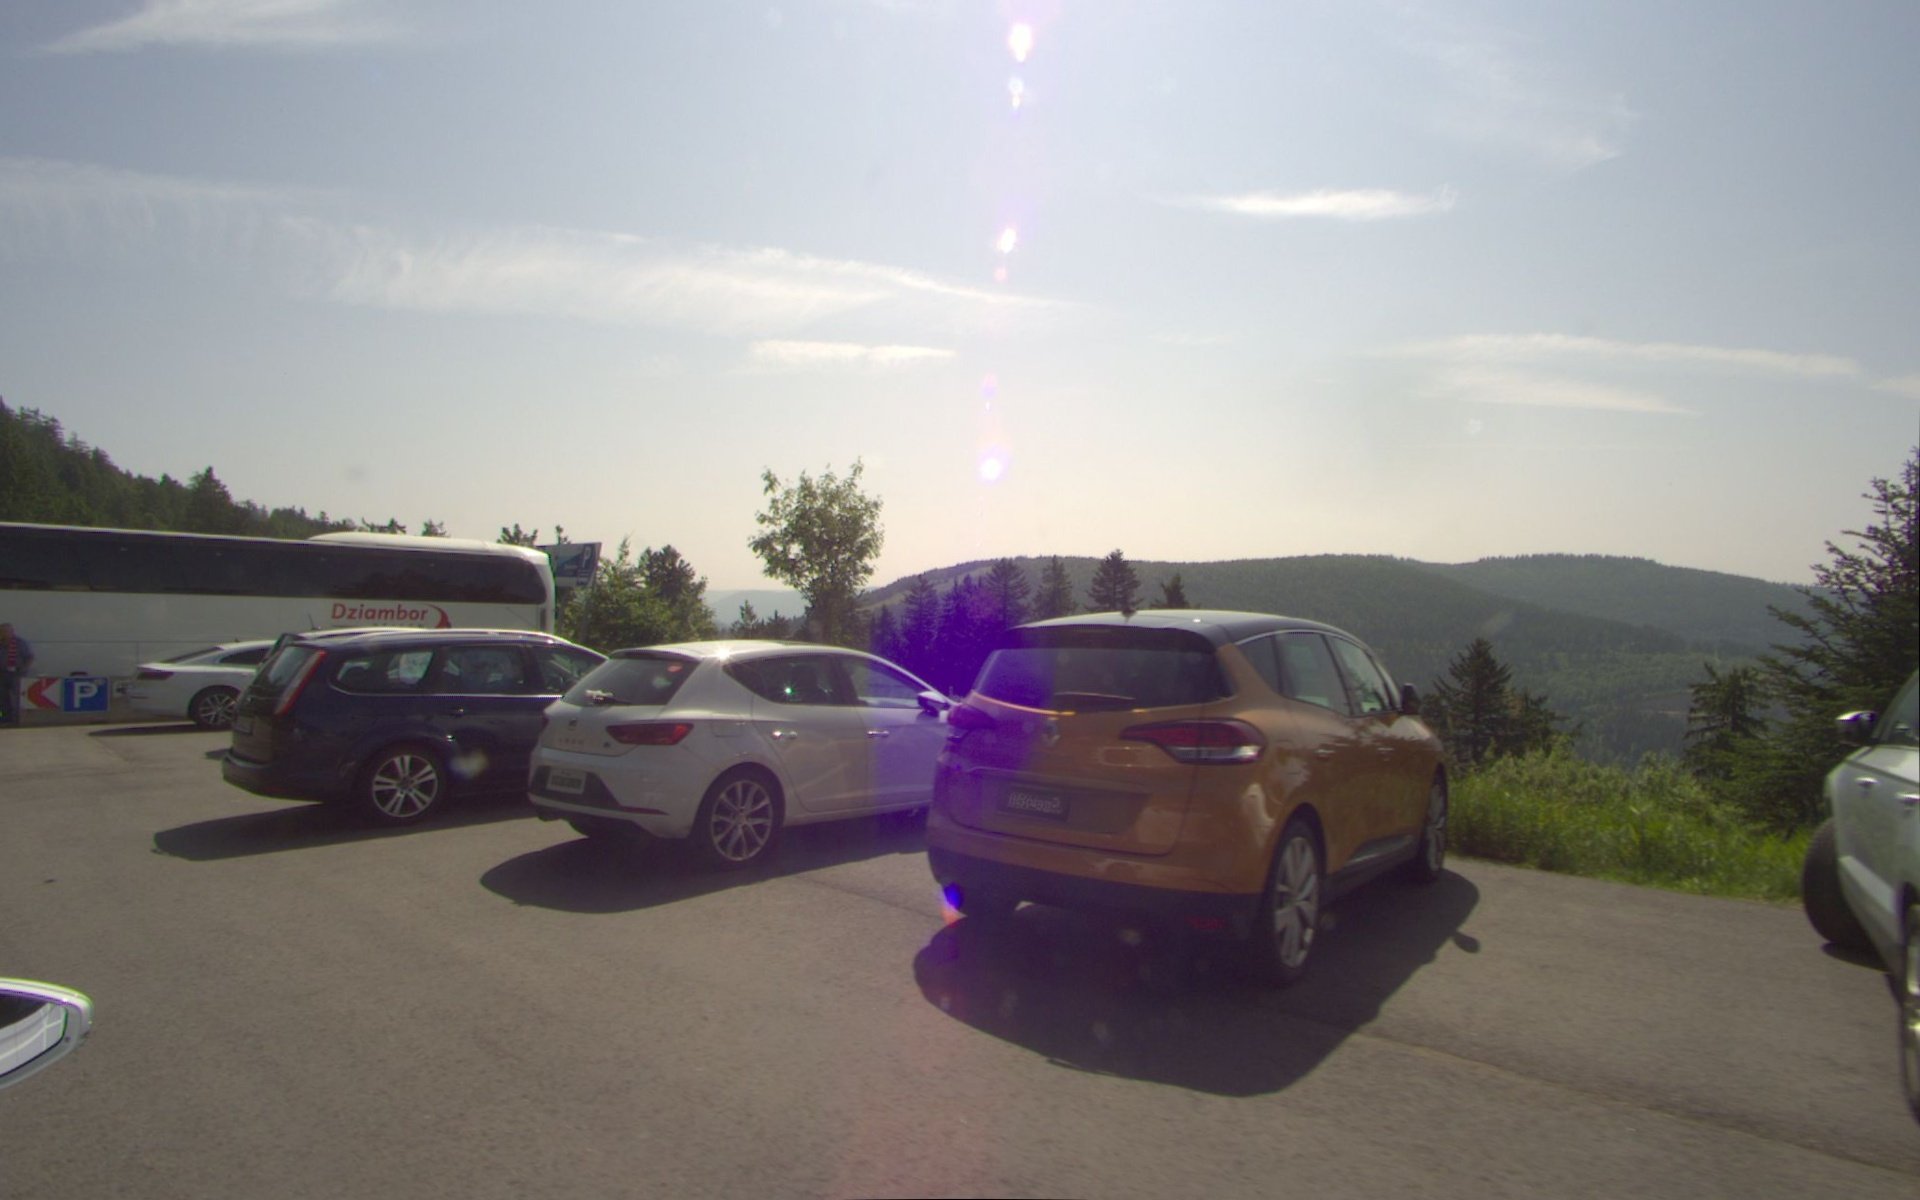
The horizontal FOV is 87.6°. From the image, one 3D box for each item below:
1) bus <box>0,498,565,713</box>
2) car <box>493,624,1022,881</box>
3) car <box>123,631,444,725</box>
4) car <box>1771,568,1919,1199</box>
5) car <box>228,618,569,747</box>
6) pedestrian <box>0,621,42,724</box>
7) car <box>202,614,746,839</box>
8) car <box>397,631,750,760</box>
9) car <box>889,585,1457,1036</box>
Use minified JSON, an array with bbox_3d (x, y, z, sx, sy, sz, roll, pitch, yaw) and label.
[{"bbox_3d":[-14.831,0.190,20.139,12.764,3.623,2.812,2,-2,-44],"label":"bus"},{"bbox_3d":[-1.272,0.988,7.667,1.594,1.437,3.871,-2,-4,38],"label":"car"},{"bbox_3d":[-11.514,1.272,17.233,4.392,1.414,1.703,3,-3,-42],"label":"car"},{"bbox_3d":[4.071,0.818,3.184,1.986,1.647,4.465,0,-3,35],"label":"car"},{"bbox_3d":[-7.970,1.118,14.464,1.748,1.594,3.965,-1,-3,44],"label":"car"},{"bbox_3d":[-15.718,1.181,16.663,0.640,1.664,0.737,0,0,-43],"label":"pedestrian"},{"bbox_3d":[-4.139,0.953,9.053,1.654,1.564,4.108,0,-2,43],"label":"car"},{"bbox_3d":[-4.945,1.170,13.197,1.748,1.437,3.966,-1,-3,44],"label":"car"},{"bbox_3d":[1.516,0.887,5.718,1.688,1.635,3.867,0,-3,37],"label":"car"}]
